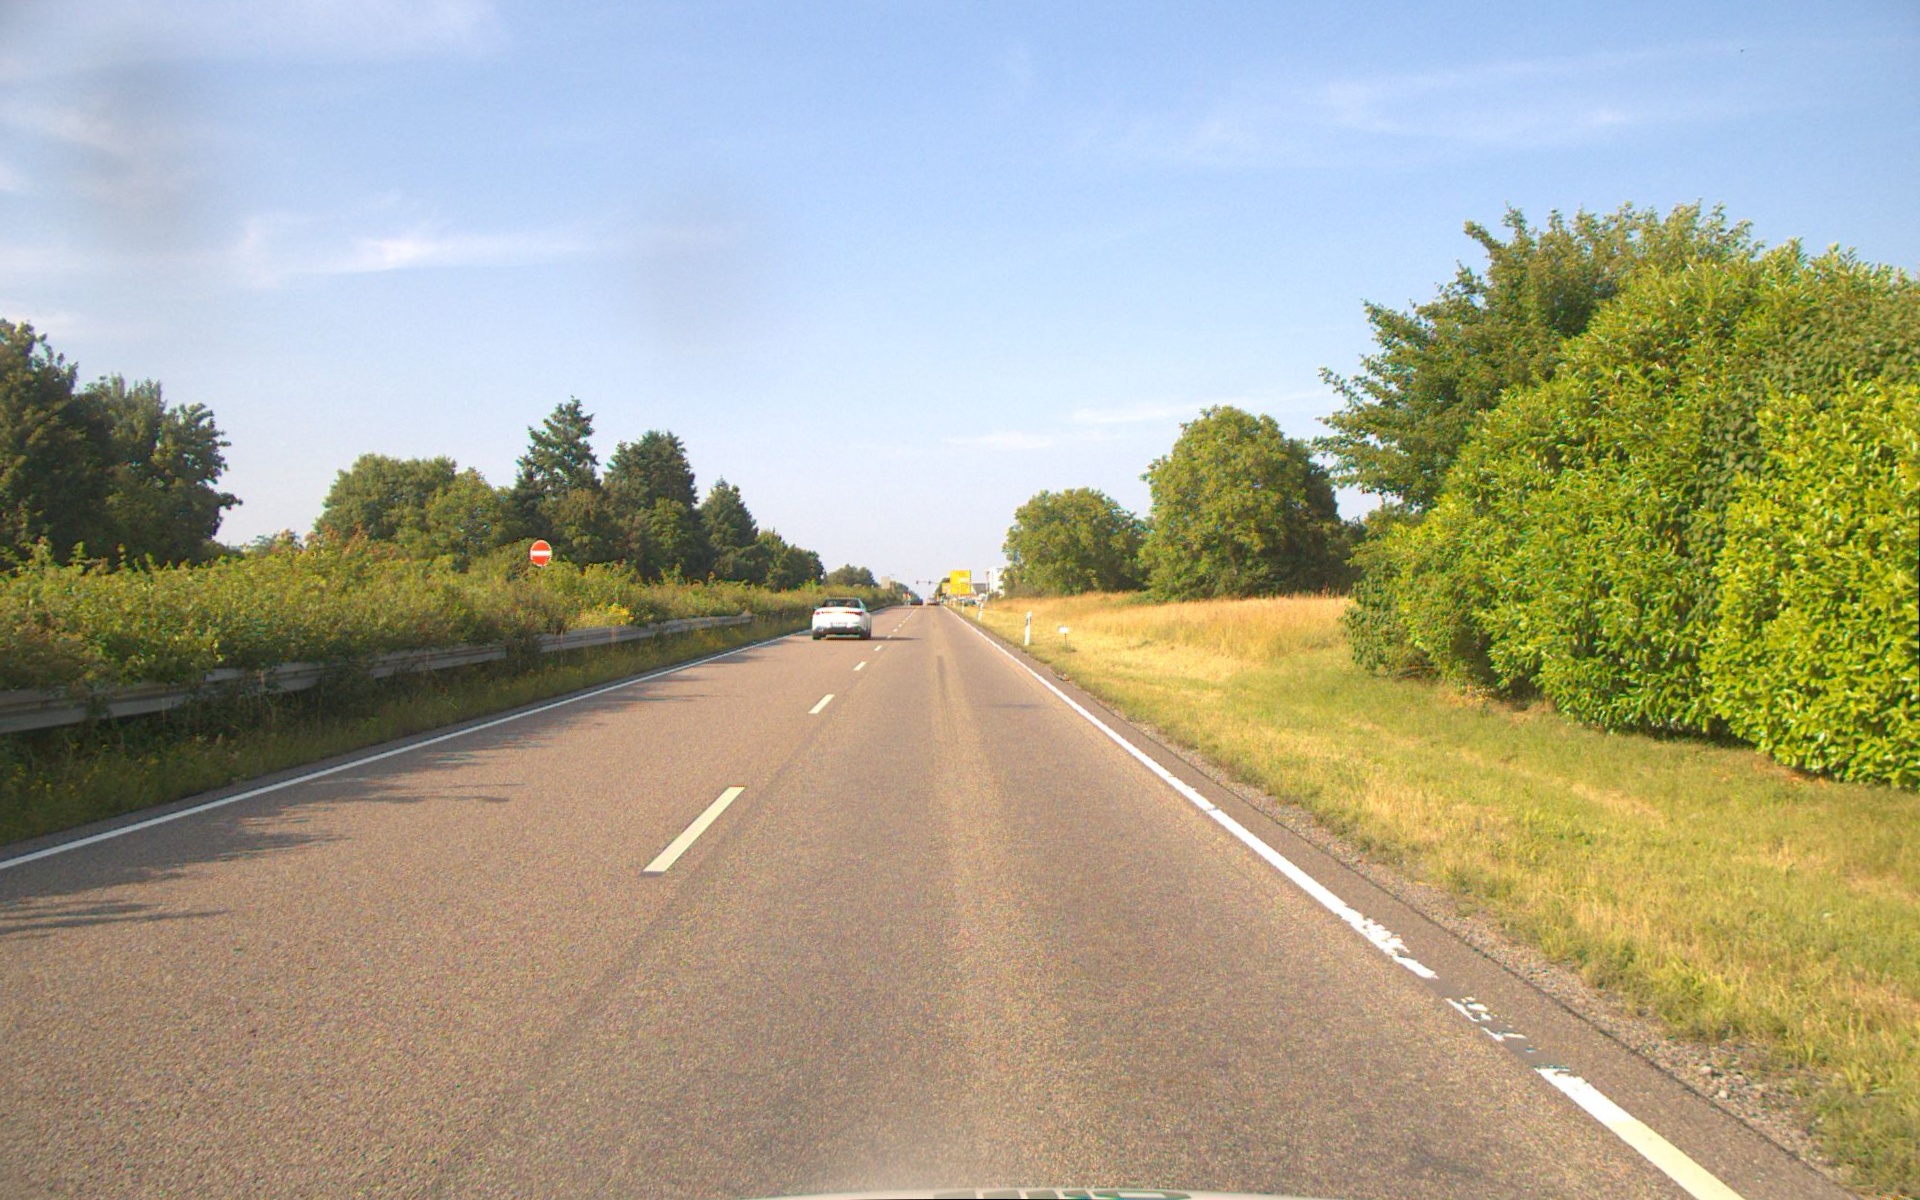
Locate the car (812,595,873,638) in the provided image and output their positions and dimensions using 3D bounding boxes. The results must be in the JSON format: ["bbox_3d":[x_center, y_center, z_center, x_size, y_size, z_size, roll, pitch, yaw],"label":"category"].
[{"bbox_3d":[-3.932,0.546,56.064,1.735,1.361,4.949,1,0,-1],"label":"car"}]
